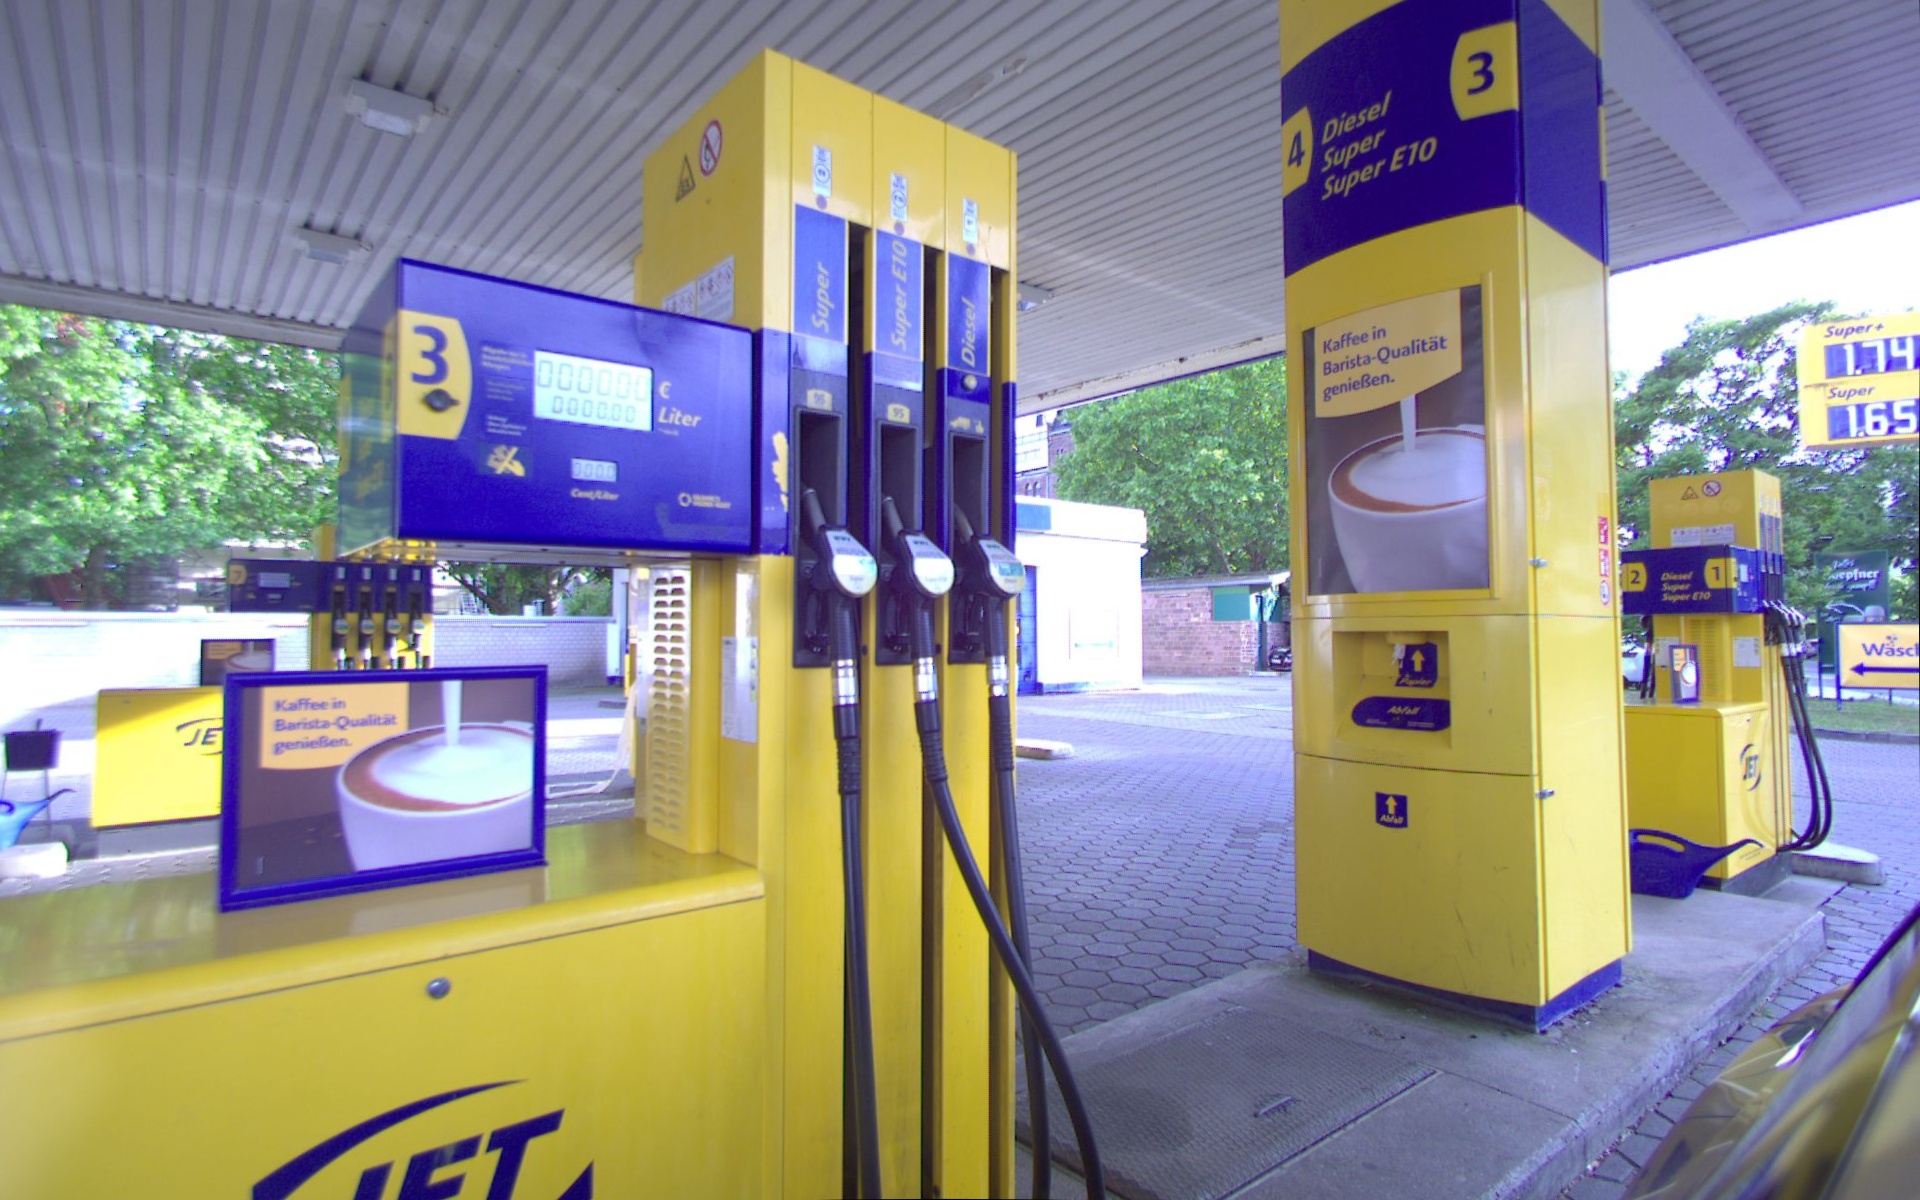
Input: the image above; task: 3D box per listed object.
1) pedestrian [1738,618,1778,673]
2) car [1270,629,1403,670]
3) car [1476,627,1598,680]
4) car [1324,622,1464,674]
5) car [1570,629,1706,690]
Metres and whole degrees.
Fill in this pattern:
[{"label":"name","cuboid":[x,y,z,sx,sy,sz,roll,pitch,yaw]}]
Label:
[{"label":"pedestrian","cuboid":[30.575,1.742,38.803,0.923,2.040,1.205,0,-2,25]},{"label":"car","cuboid":[12.828,1.697,34.496,4.134,1.294,1.751,2,-3,-22]},{"label":"car","cuboid":[17.554,1.638,30.748,3.923,1.529,1.740,3,-3,-35]},{"label":"car","cuboid":[13.787,1.545,32.147,4.134,1.544,1.791,2,-3,-24]},{"label":"car","cuboid":[18.220,1.560,27.160,3.923,1.529,1.740,2,-3,-35]}]
